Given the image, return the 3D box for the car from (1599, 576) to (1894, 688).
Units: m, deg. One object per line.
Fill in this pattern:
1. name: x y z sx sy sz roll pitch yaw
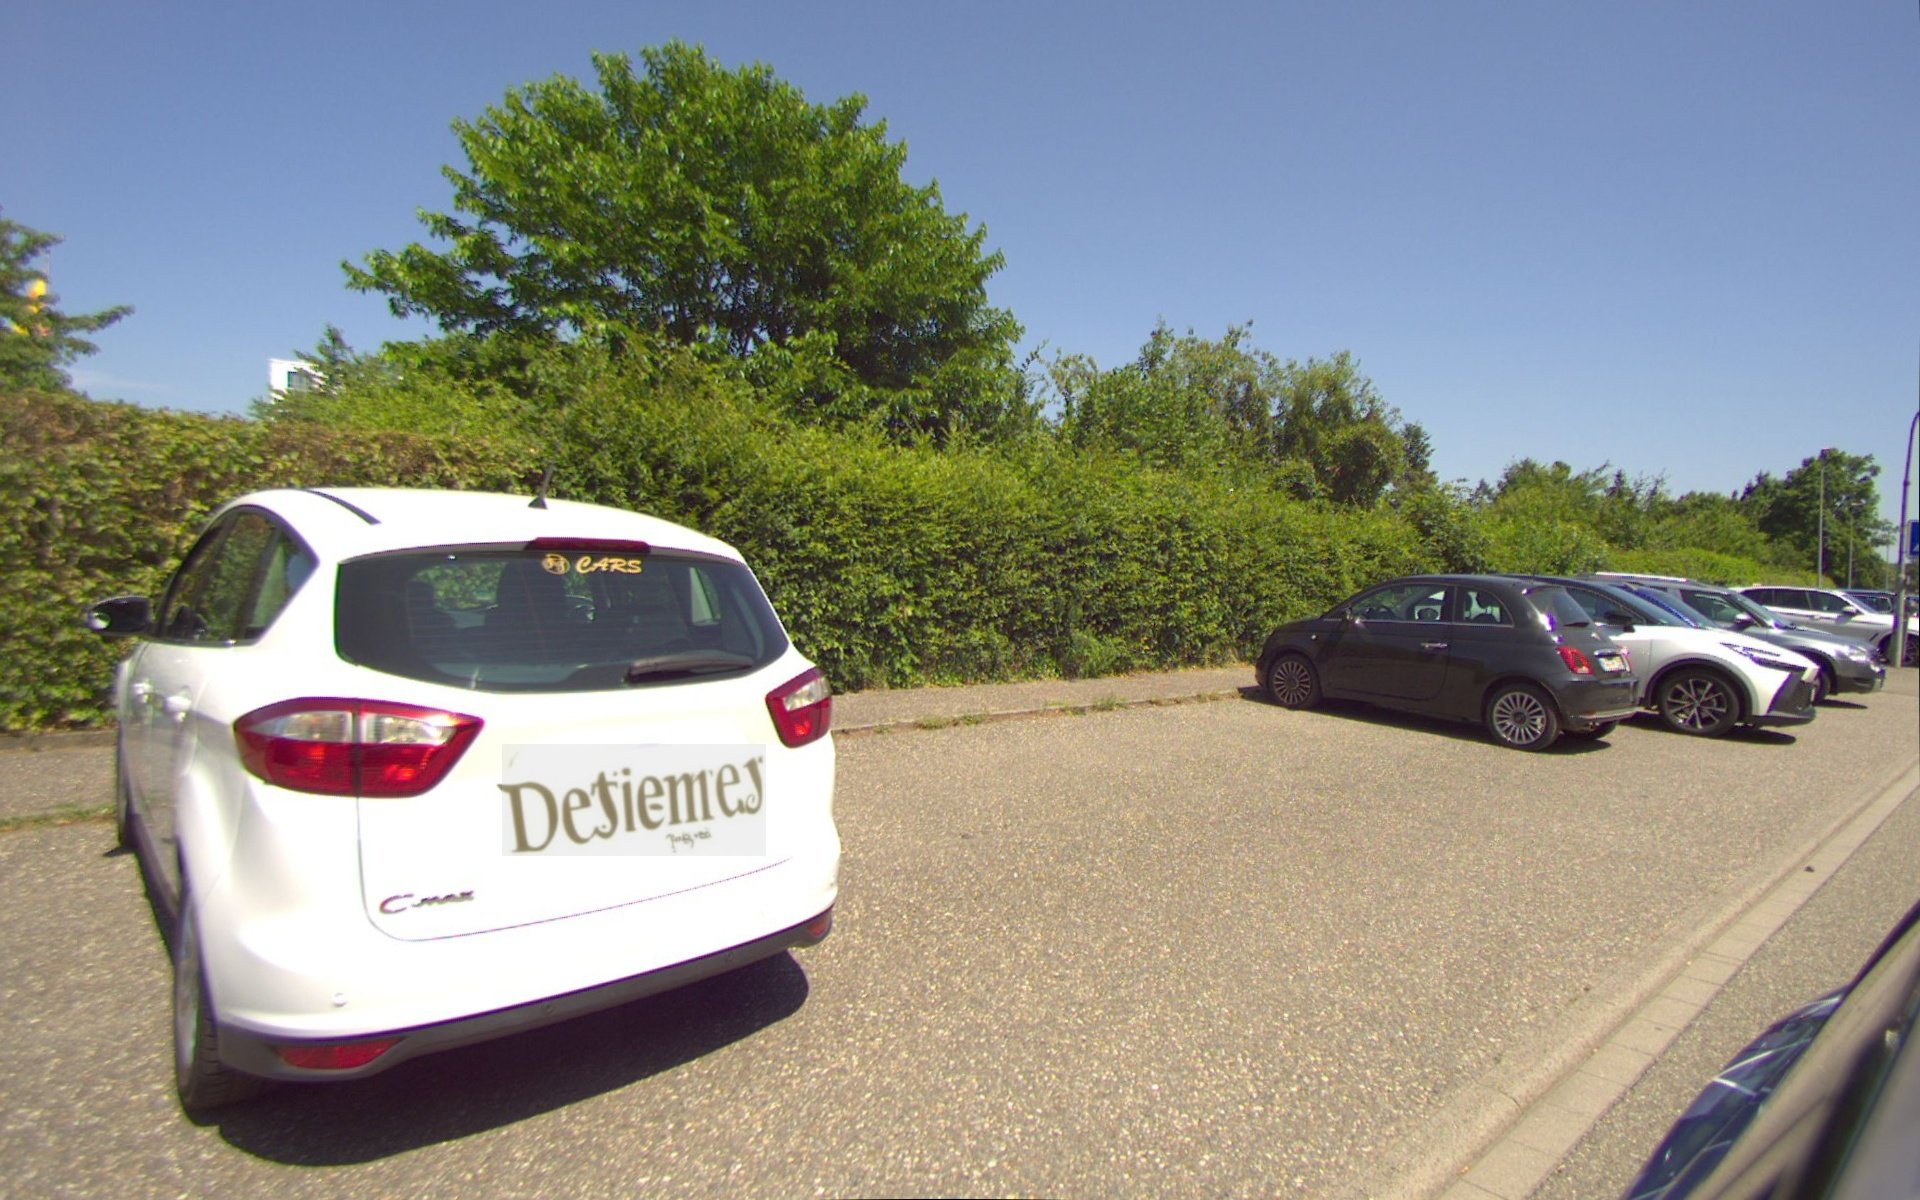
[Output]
1. car: 13.588 0.473 17.666 1.580 1.468 3.703 1 5 -37

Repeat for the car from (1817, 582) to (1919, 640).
1. car: 30.327 0.379 32.502 1.645 1.661 4.034 0 5 -42

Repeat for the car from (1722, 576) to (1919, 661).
1. car: 21.258 0.390 24.249 1.819 1.750 4.463 -1 4 -41

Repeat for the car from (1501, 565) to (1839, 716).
1. car: 9.460 0.441 13.652 3.455 1.545 1.515 7 5 44

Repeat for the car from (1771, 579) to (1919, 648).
1. car: 25.937 0.367 28.827 1.747 1.661 4.165 -1 5 -44

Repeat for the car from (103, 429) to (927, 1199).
1. car: -2.211 0.322 4.101 1.736 1.597 4.283 0 4 -43

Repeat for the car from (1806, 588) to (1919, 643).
1. car: 28.270 0.492 30.508 1.651 1.426 4.033 0 5 -43

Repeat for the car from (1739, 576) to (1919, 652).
1. car: 22.967 0.317 26.311 1.736 1.706 3.980 0 3 -42

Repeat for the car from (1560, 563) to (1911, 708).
1. car: 11.627 0.422 15.363 1.637 1.660 3.965 0 5 -45

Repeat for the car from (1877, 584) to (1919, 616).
1. car: 59.735 0.093 62.484 4.483 1.873 1.669 6 4 44

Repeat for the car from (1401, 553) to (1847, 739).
1. car: 7.505 0.377 11.683 3.965 1.541 1.835 7 5 43

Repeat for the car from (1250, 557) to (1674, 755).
1. car: 4.834 0.415 10.116 1.559 1.522 3.398 1 3 -38
